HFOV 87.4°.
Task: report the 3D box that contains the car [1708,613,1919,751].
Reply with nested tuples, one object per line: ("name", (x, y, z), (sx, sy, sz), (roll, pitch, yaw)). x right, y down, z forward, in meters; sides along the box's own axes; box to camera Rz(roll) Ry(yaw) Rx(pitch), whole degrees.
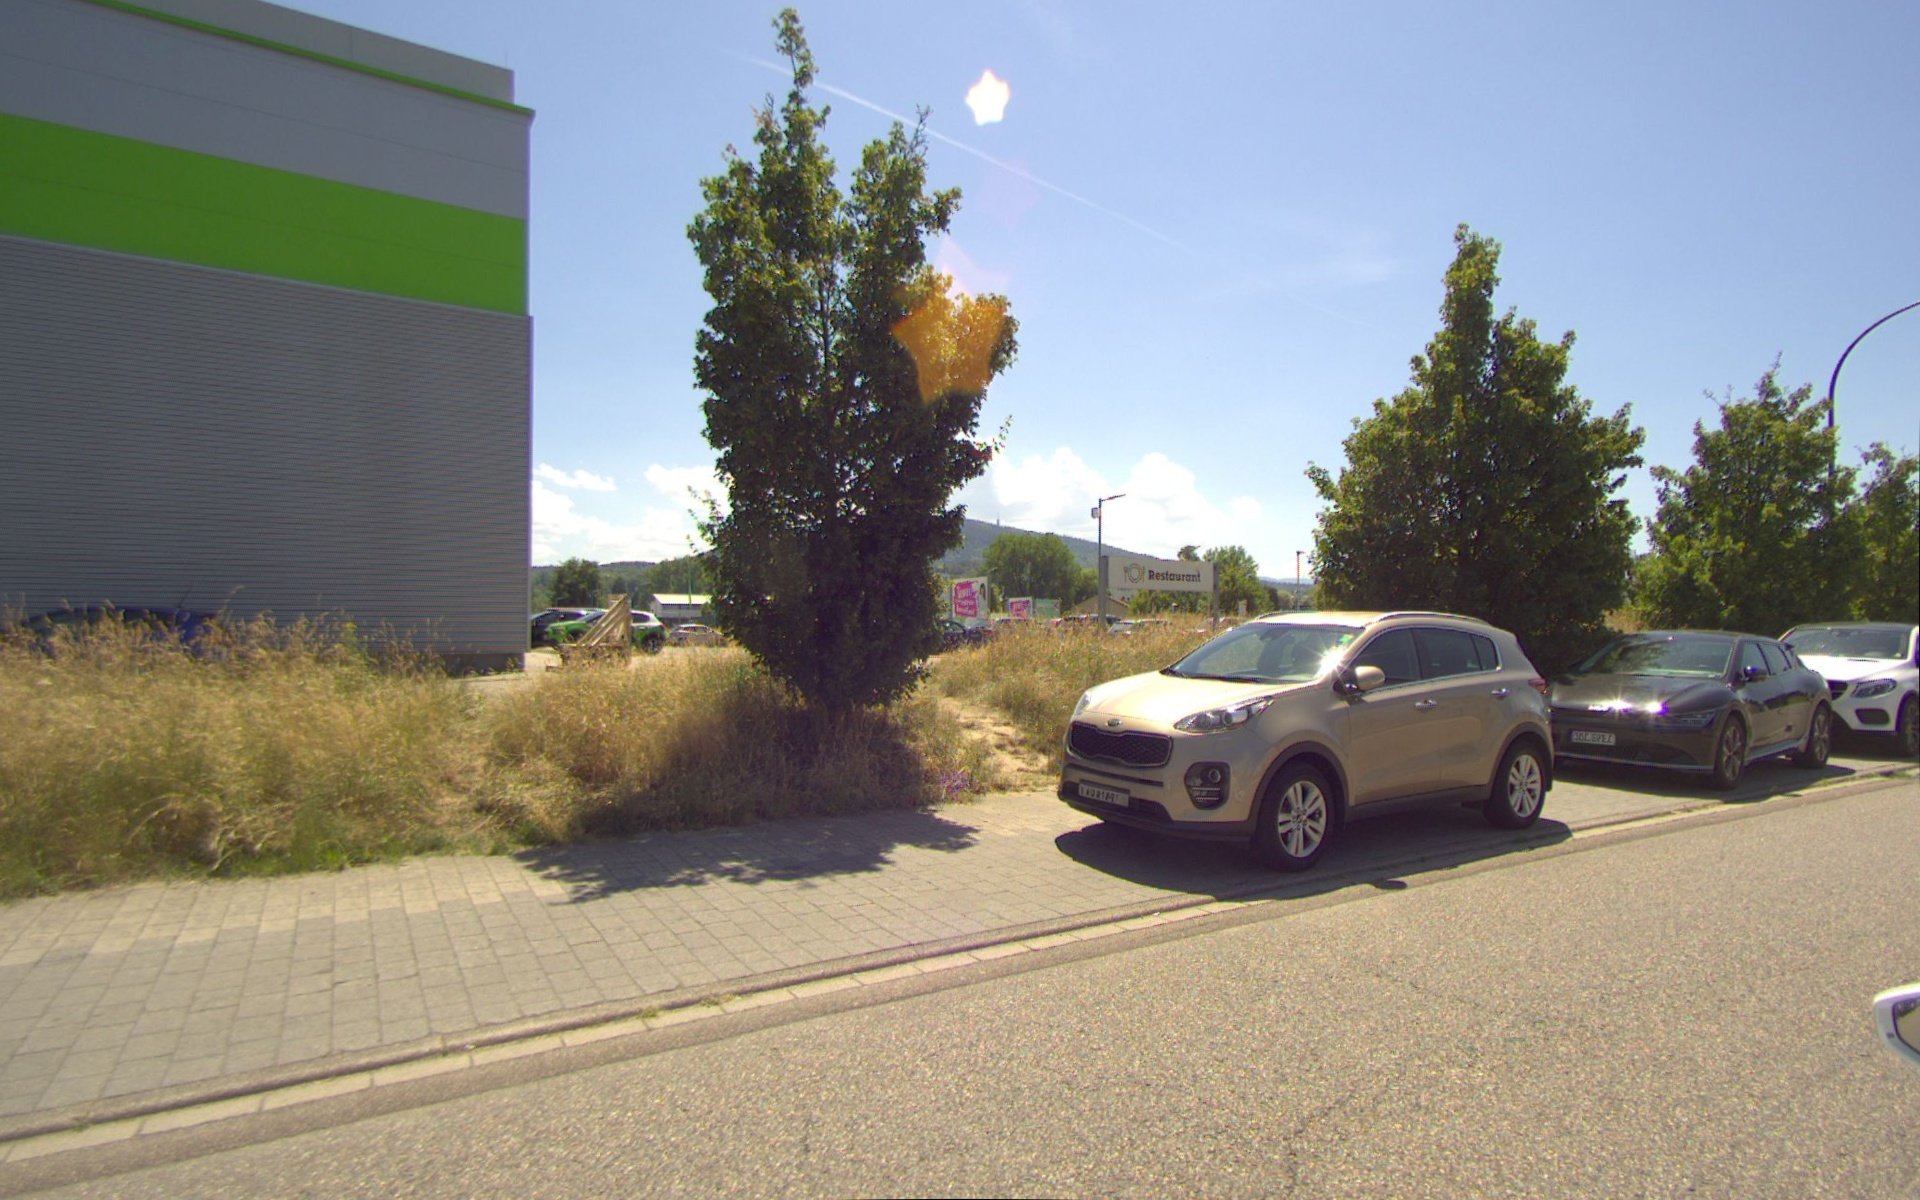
("car", (12.812, 1.082, 14.331), (4.703, 1.677, 1.902), (1, -3, -33))

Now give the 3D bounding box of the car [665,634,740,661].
("car", (-17.005, 3.114, 66.337), (4.414, 1.744, 1.985), (1, -3, -30))

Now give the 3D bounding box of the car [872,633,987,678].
("car", (-1.130, 2.058, 38.135), (3.960, 1.565, 1.981), (1, -1, -35))

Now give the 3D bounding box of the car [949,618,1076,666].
("car", (1.818, 1.391, 34.281), (3.959, 1.565, 1.981), (1, -1, -35))

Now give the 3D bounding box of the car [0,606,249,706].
("car", (-12.705, 0.796, 15.091), (3.202, 1.370, 1.423), (1, 0, -32))

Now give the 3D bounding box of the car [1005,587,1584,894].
("car", (2.667, 0.822, 7.678), (4.365, 1.736, 1.902), (1, 0, -33))

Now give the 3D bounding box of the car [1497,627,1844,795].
("car", (8.164, 1.093, 11.428), (4.369, 1.511, 1.900), (1, 0, -35))

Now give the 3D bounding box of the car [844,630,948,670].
("car", (-2.719, 2.068, 42.399), (3.949, 1.565, 1.986), (1, -1, -27))

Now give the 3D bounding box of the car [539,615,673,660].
("car", (-11.935, 1.226, 33.915), (3.958, 1.431, 1.982), (1, -1, -34))
